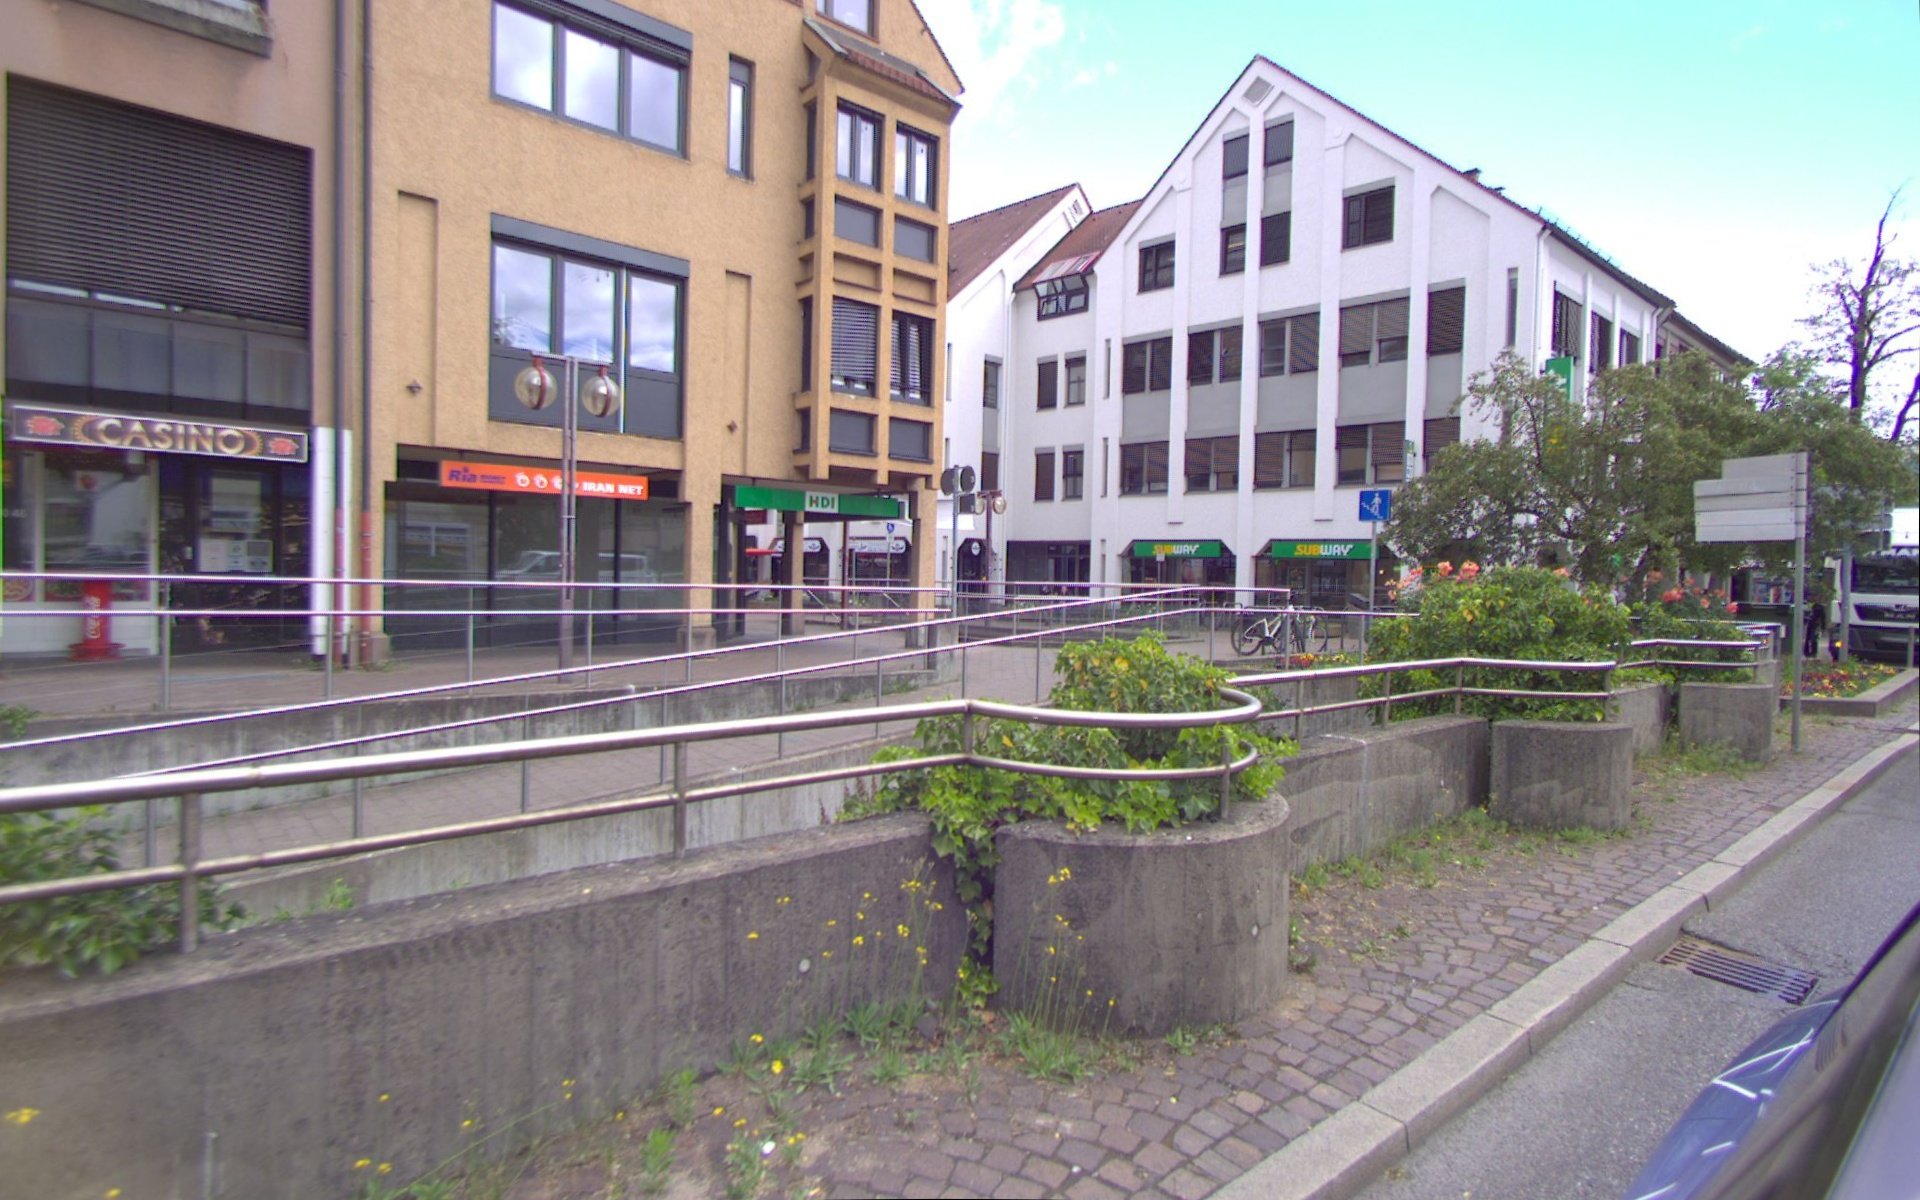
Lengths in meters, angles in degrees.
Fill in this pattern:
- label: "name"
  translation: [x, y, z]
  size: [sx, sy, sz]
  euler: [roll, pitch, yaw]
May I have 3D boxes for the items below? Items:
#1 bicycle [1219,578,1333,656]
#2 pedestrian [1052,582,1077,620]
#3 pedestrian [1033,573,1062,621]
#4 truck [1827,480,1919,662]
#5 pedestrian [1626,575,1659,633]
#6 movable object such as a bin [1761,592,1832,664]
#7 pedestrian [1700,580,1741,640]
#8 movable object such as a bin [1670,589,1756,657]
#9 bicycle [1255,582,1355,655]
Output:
- label: "bicycle"
  translation: [5.817, 0.284, 18.707]
  size: [0.829, 1.343, 1.818]
  euler: [1, 2, -44]
- label: "pedestrian"
  translation: [3.430, 0.027, 33.217]
  size: [0.504, 1.215, 0.619]
  euler: [1, 1, -43]
- label: "pedestrian"
  translation: [2.765, -0.102, 31.957]
  size: [0.610, 1.494, 0.607]
  euler: [1, 1, -43]
- label: "truck"
  translation: [22.615, -0.552, 23.285]
  size: [9.596, 3.605, 2.693]
  euler: [0, 1, -42]
- label: "pedestrian"
  translation: [19.534, 0.098, 28.964]
  size: [0.732, 1.622, 0.573]
  euler: [1, 1, -40]
- label: "movable object such as a bin"
  translation: [16.776, 0.541, 20.296]
  size: [1.066, 1.356, 0.884]
  euler: [1, 2, -39]
- label: "pedestrian"
  translation: [21.160, 0.263, 28.173]
  size: [0.737, 1.622, 0.570]
  euler: [2, 1, 21]
- label: "movable object such as a bin"
  translation: [16.013, 0.473, 21.520]
  size: [1.351, 1.356, 1.146]
  euler: [0, 2, -39]
- label: "bicycle"
  translation: [6.534, 0.325, 19.222]
  size: [0.658, 1.274, 1.676]
  euler: [1, 1, -44]
